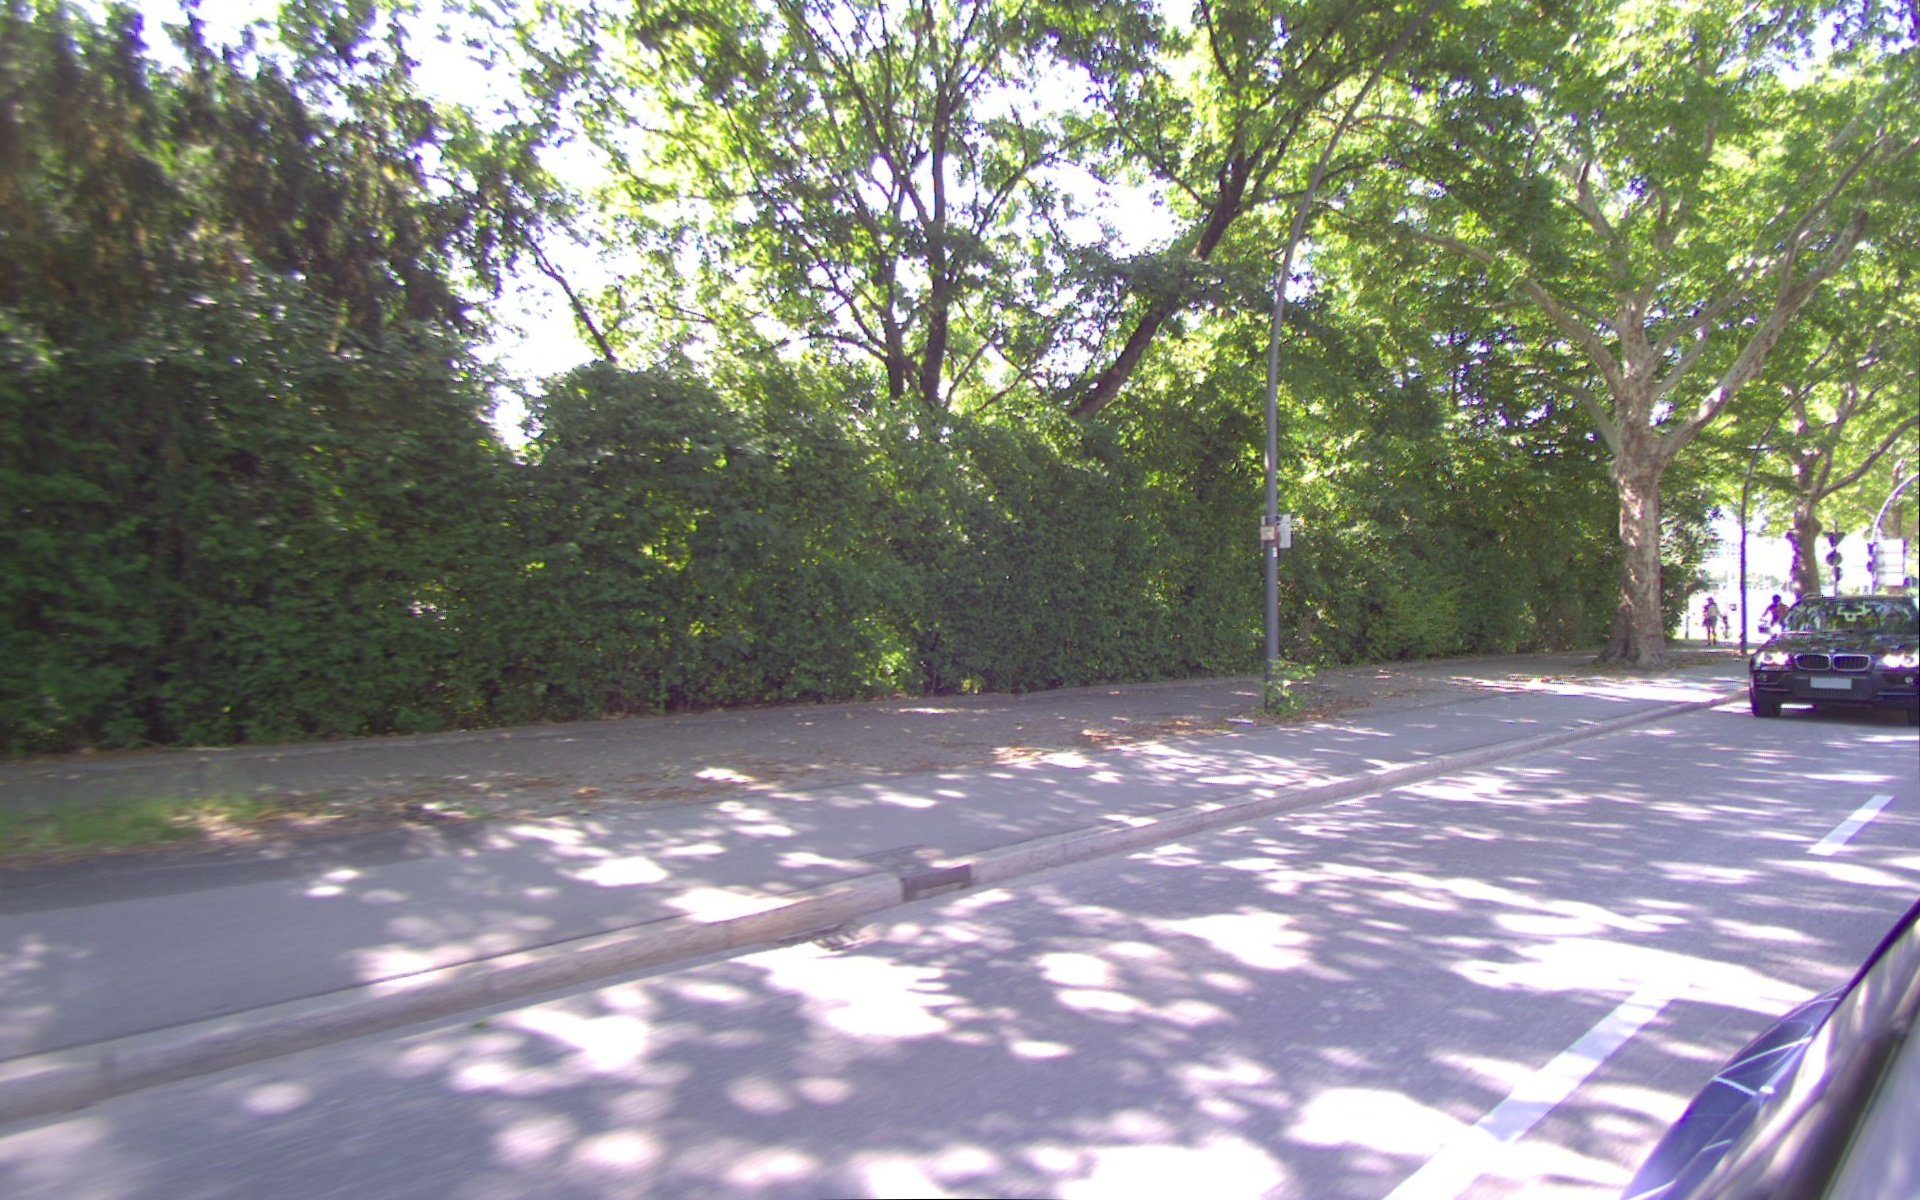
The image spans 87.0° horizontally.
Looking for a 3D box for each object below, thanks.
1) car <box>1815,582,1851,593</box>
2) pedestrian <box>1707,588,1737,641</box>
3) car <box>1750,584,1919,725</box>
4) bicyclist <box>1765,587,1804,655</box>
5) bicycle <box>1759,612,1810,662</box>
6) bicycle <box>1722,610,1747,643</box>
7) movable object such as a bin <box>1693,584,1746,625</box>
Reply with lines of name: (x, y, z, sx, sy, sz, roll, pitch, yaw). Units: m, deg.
car: (132.880, -1.861, 154.004, 1.779, 1.529, 3.990, 1, -1, -43)
pedestrian: (26.171, 0.501, 34.760, 0.859, 1.808, 0.633, 1, -1, -41)
car: (12.999, 0.696, 14.463, 4.079, 1.752, 1.922, 0, -1, -41)
bicyclist: (20.137, 0.513, 24.715, 0.720, 1.620, 0.620, 1, 1, -42)
bicycle: (20.198, 0.886, 24.779, 1.912, 1.143, 0.652, 0, 1, -42)
bicycle: (26.523, 0.910, 34.640, 1.669, 1.096, 0.350, 0, -1, -41)
movable object such as a bin: (59.320, 0.360, 79.032, 5.886, 3.111, 2.371, 1, -1, -44)
